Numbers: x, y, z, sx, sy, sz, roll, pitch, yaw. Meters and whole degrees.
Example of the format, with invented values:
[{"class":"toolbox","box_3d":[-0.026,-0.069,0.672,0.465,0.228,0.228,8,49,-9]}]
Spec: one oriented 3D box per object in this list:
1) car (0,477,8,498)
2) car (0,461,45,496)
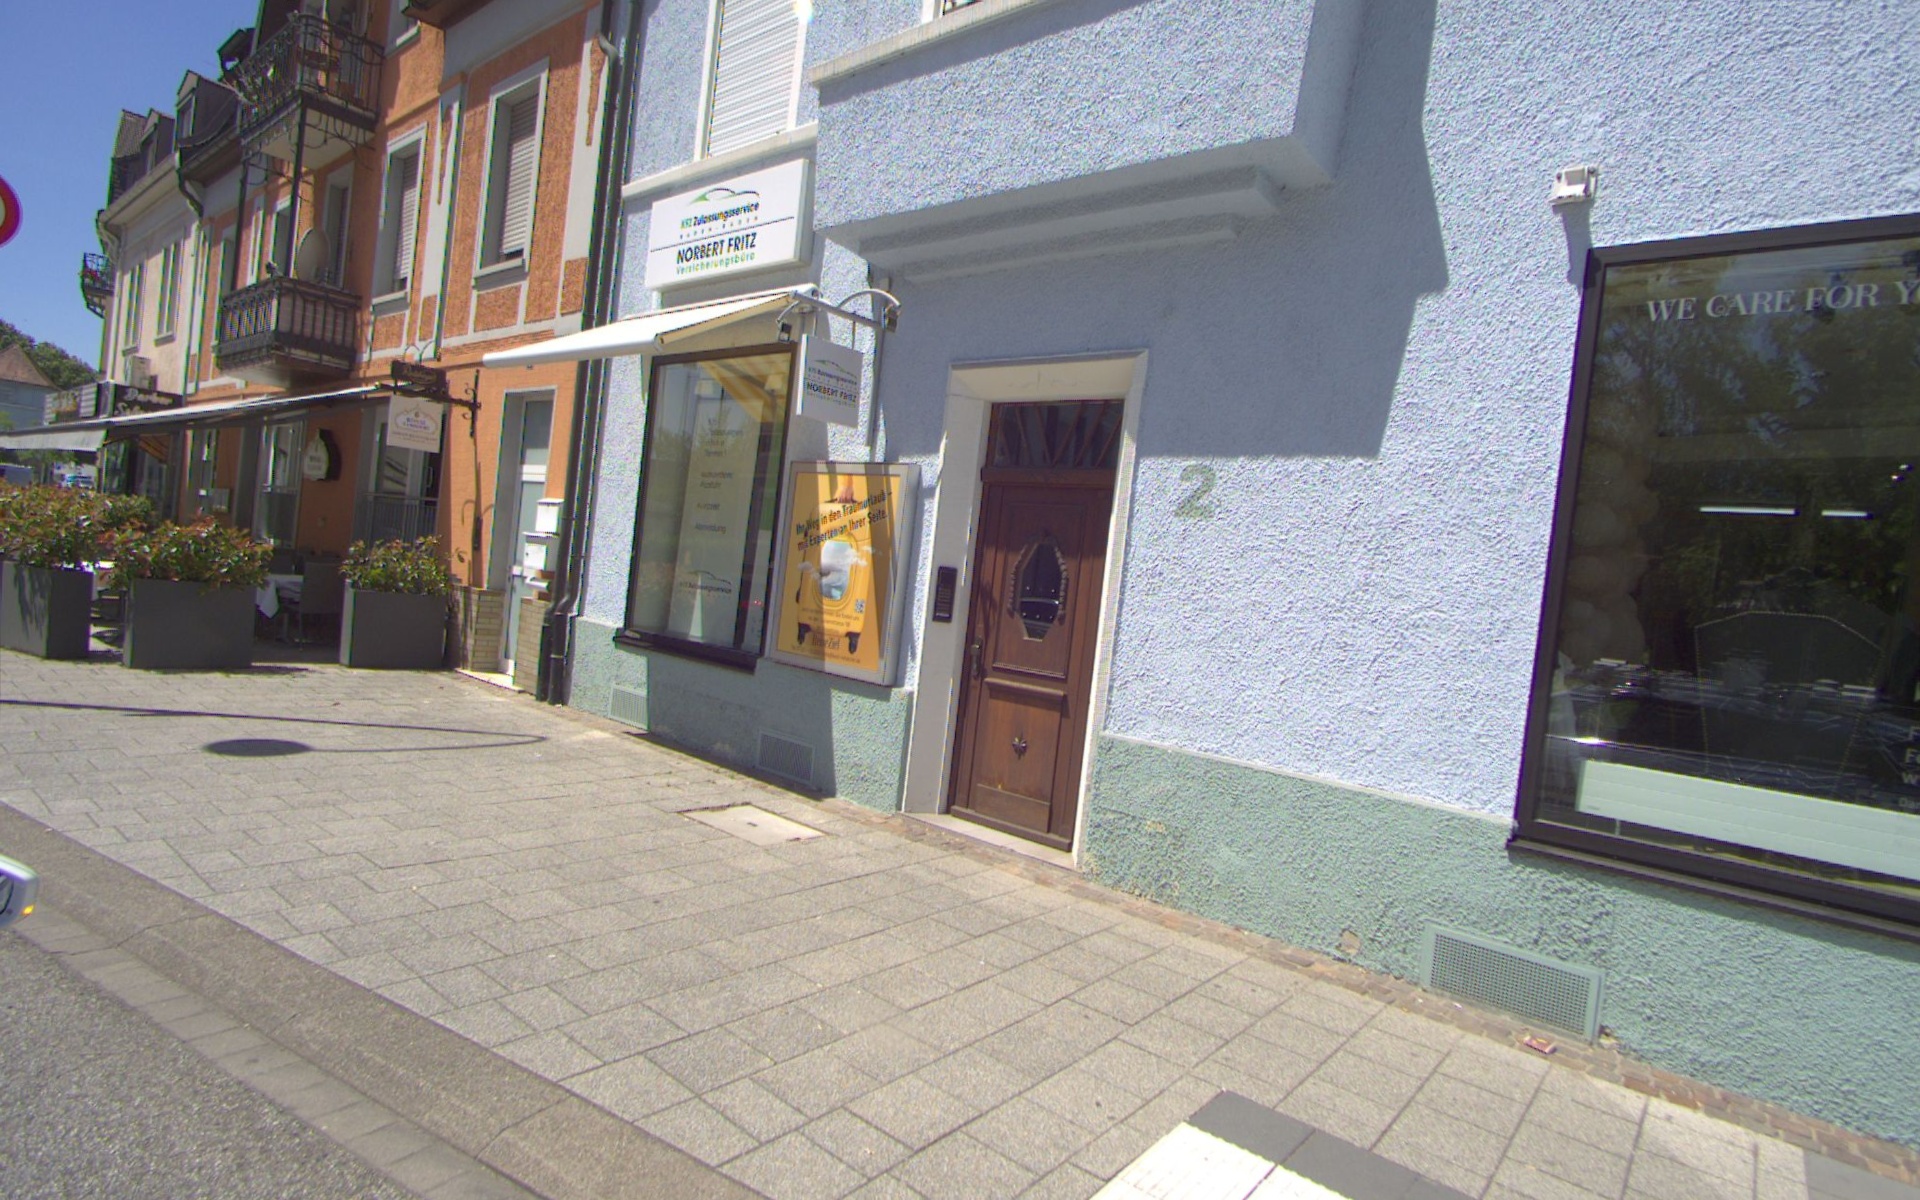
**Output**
[{"class":"car","box_3d":[-83.854,-9.856,85.364,3.954,1.682,1.985,7,0,-29]},{"class":"car","box_3d":[-86.058,-11.118,89.949,5.593,2.611,2.498,7,0,-27]}]
